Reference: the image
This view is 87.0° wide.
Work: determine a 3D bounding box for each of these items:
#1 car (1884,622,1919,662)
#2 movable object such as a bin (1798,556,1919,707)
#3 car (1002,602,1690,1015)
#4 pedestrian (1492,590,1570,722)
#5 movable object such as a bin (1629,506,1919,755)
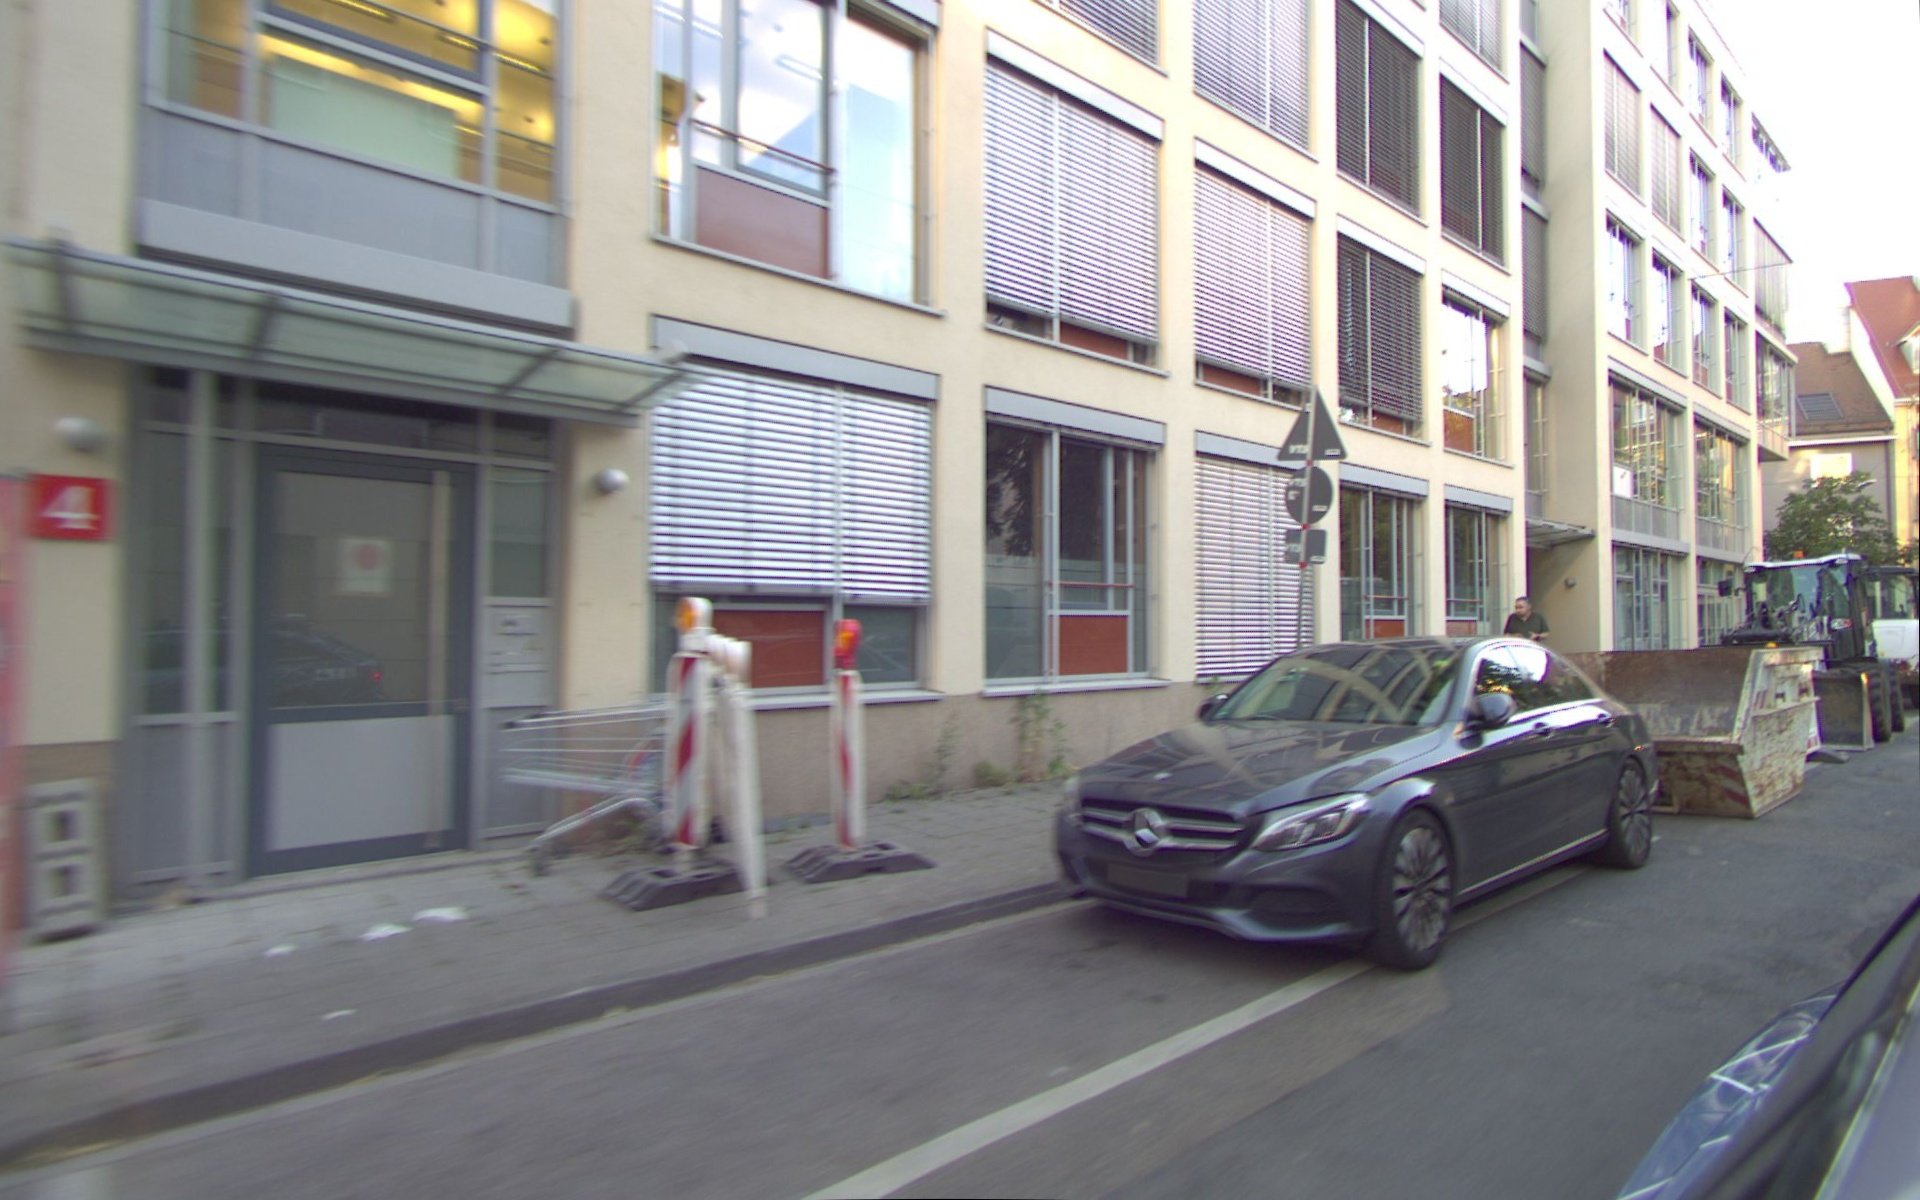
[{"bbox_3d":[40.053,1.746,41.939,1.617,1.469,3.821,0,1,27],"label":"car"},{"bbox_3d":[18.717,0.636,20.160,5.648,2.658,2.019,1,-4,-40],"label":"movable object such as a bin"},{"bbox_3d":[2.450,0.837,5.804,4.367,1.491,1.789,1,-4,-41],"label":"car"},{"bbox_3d":[8.275,0.792,14.675,0.709,1.843,0.806,2,-2,-41],"label":"pedestrian"},{"bbox_3d":[11.021,0.447,13.375,5.647,2.658,2.019,2,-5,-40],"label":"movable object such as a bin"}]
